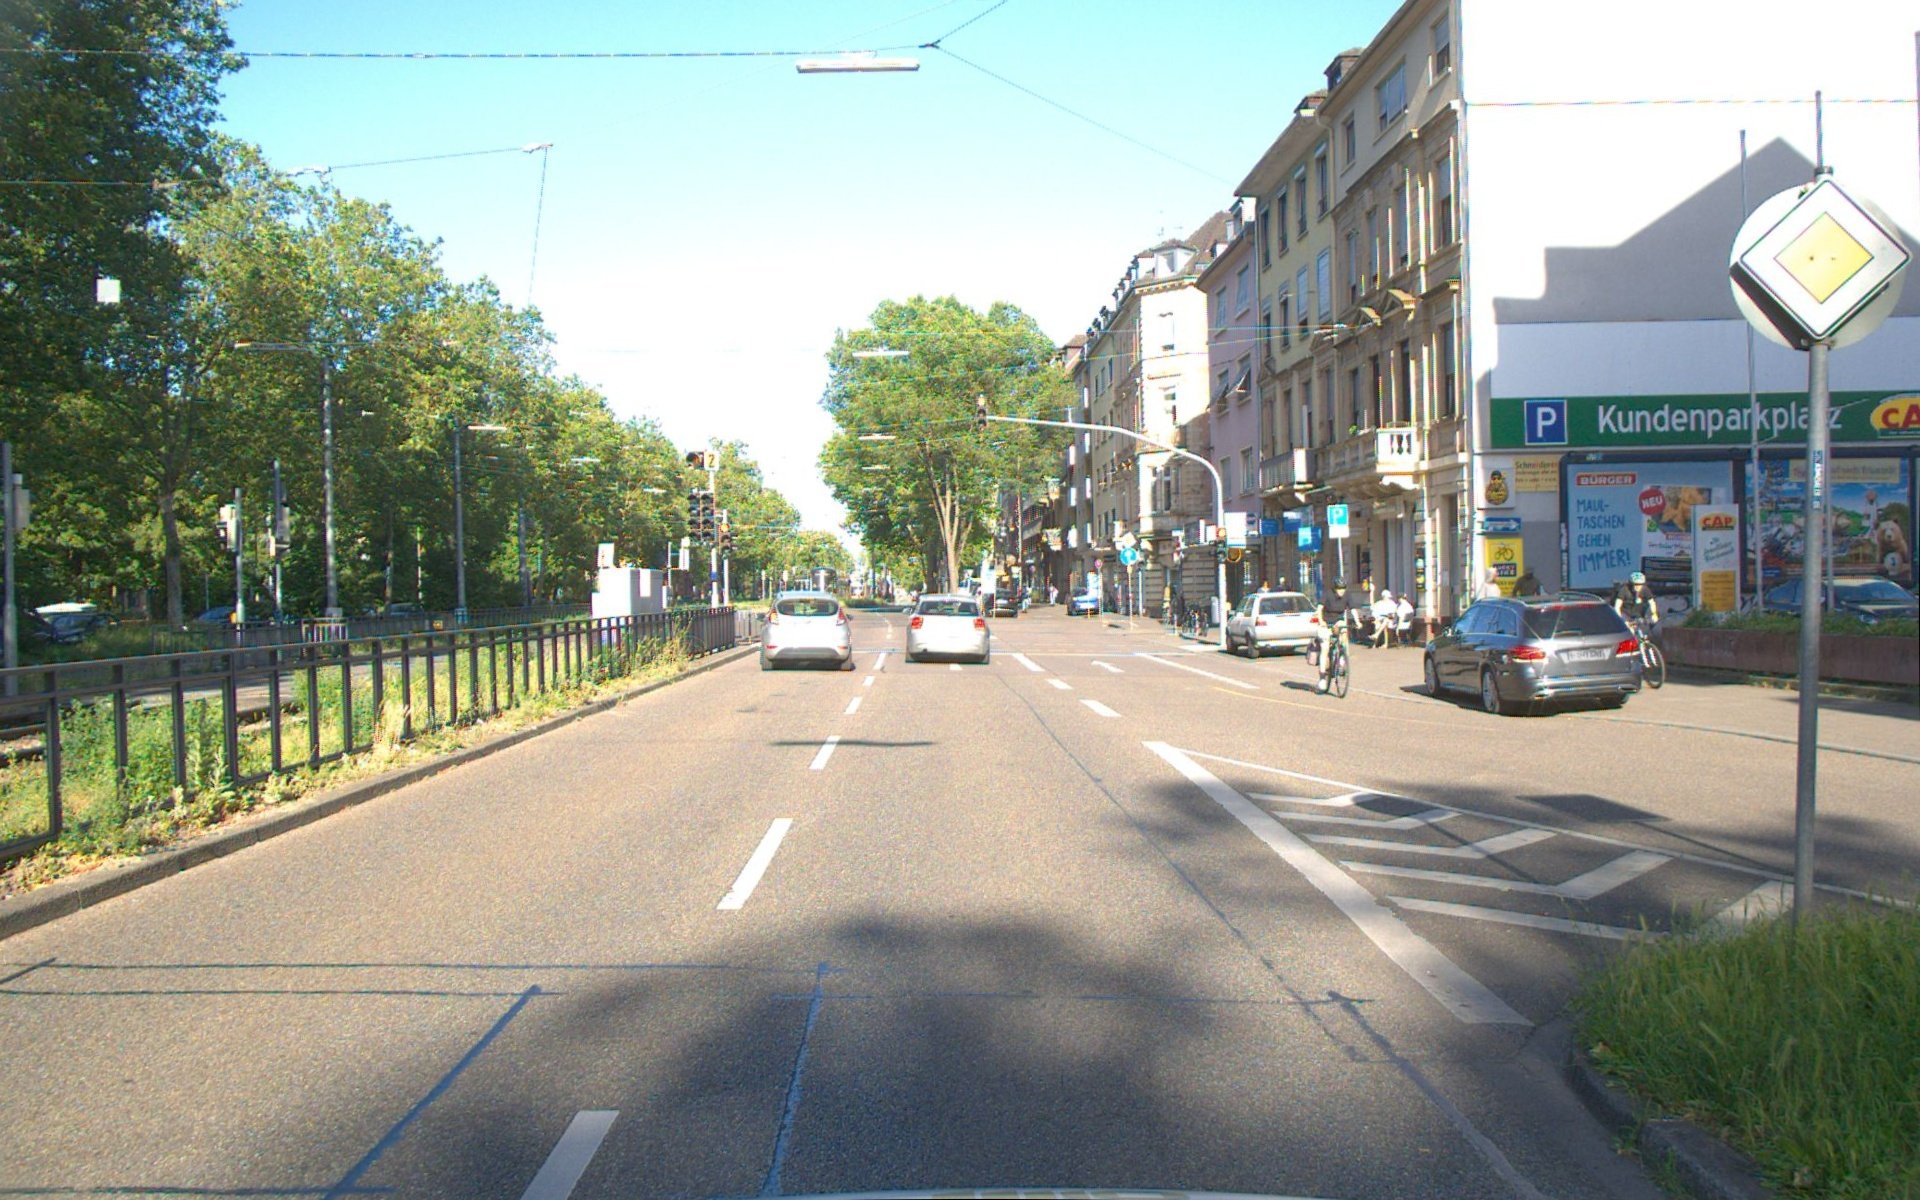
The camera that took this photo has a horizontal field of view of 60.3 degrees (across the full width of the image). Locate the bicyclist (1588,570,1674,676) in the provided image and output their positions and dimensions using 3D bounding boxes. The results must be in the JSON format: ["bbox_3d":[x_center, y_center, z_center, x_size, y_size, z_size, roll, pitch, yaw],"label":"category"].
[{"bbox_3d":[9.843,0.326,24.283,0.663,1.471,1.181,-5,0,-1],"label":"bicyclist"}]

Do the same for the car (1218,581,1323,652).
[{"bbox_3d":[7.160,0.348,38.435,1.531,1.440,4.003,-4,1,-1],"label":"car"}]

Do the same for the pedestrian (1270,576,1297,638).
[{"bbox_3d":[9.715,0.199,49.690,0.659,1.838,0.530,-2,0,-1],"label":"pedestrian"}]

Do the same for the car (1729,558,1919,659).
[{"bbox_3d":[14.102,0.107,26.773,1.527,1.511,3.392,-1,0,-5],"label":"car"}]

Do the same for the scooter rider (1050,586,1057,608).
[{"bbox_3d":[6.668,-0.189,118.474,0.456,1.531,0.811,0,-2,0],"label":"scooter rider"}]

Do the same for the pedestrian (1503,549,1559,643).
[{"bbox_3d":[11.593,-0.091,33.613,0.749,1.873,0.743,-1,0,-21],"label":"pedestrian"}]

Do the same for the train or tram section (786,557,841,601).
[{"bbox_3d":[-13.885,-1.977,158.314,3.888,3.933,17.485,-1,1,-1],"label":"train or tram section"}]

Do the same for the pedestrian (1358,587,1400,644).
[{"bbox_3d":[9.687,0.351,38.235,0.781,1.304,0.608,-1,0,-3],"label":"pedestrian"}]

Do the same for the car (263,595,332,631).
[{"bbox_3d":[-30.170,0.553,75.429,1.636,1.536,4.143,-1,1,-2],"label":"car"}]

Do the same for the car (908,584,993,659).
[{"bbox_3d":[-0.229,0.422,35.626,1.705,1.493,3.999,1,1,-1],"label":"car"}]

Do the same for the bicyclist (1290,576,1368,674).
[{"bbox_3d":[5.742,0.374,25.722,0.741,1.487,0.936,0,0,-44],"label":"bicyclist"}]

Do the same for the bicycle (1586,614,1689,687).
[{"bbox_3d":[9.925,0.722,24.312,0.636,0.936,1.917,-5,0,-1],"label":"bicycle"}]

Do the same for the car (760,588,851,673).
[{"bbox_3d":[-3.015,0.526,31.806,1.579,1.493,3.883,-1,1,-8],"label":"car"}]

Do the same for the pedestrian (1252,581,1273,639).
[{"bbox_3d":[9.088,0.300,49.663,0.538,1.738,0.388,-1,0,2],"label":"pedestrian"}]

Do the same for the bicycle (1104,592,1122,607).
[{"bbox_3d":[8.581,-0.040,92.544,0.739,0.784,1.944,-1,1,-2],"label":"bicycle"}]

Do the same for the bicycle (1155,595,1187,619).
[{"bbox_3d":[8.460,0.268,66.380,0.642,0.919,1.331,0,1,40],"label":"bicycle"}]

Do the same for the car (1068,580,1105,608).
[{"bbox_3d":[6.948,-0.346,91.204,1.700,1.546,3.635,0,1,-2],"label":"car"}]

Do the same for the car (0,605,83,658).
[{"bbox_3d":[-29.273,0.958,51.705,1.636,1.536,4.143,-1,0,-2],"label":"car"}]

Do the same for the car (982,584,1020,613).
[{"bbox_3d":[2.118,-0.092,86.205,1.701,1.458,3.676,0,1,-2],"label":"car"}]

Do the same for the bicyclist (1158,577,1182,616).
[{"bbox_3d":[8.429,-0.137,66.363,0.538,1.528,0.956,-1,1,40],"label":"bicyclist"}]

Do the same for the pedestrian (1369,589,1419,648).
[{"bbox_3d":[9.863,0.420,37.587,0.883,1.304,0.655,-2,0,-6],"label":"pedestrian"}]

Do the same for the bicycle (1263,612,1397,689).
[{"bbox_3d":[5.738,0.768,25.713,0.753,1.121,1.922,-2,1,-44],"label":"bicycle"}]

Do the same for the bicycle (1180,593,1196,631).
[{"bbox_3d":[7.111,0.358,51.577,0.405,1.160,1.811,0,1,5],"label":"bicycle"}]

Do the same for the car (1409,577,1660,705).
[{"bbox_3d":[7.929,0.495,23.338,1.796,1.513,4.733,-4,1,0],"label":"car"}]

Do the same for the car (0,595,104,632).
[{"bbox_3d":[-40.503,0.595,73.751,3.904,1.520,1.394,-1,1,3],"label":"car"}]

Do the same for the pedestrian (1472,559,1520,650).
[{"bbox_3d":[10.717,0.079,33.068,0.749,1.786,0.510,-1,0,-21],"label":"pedestrian"}]
